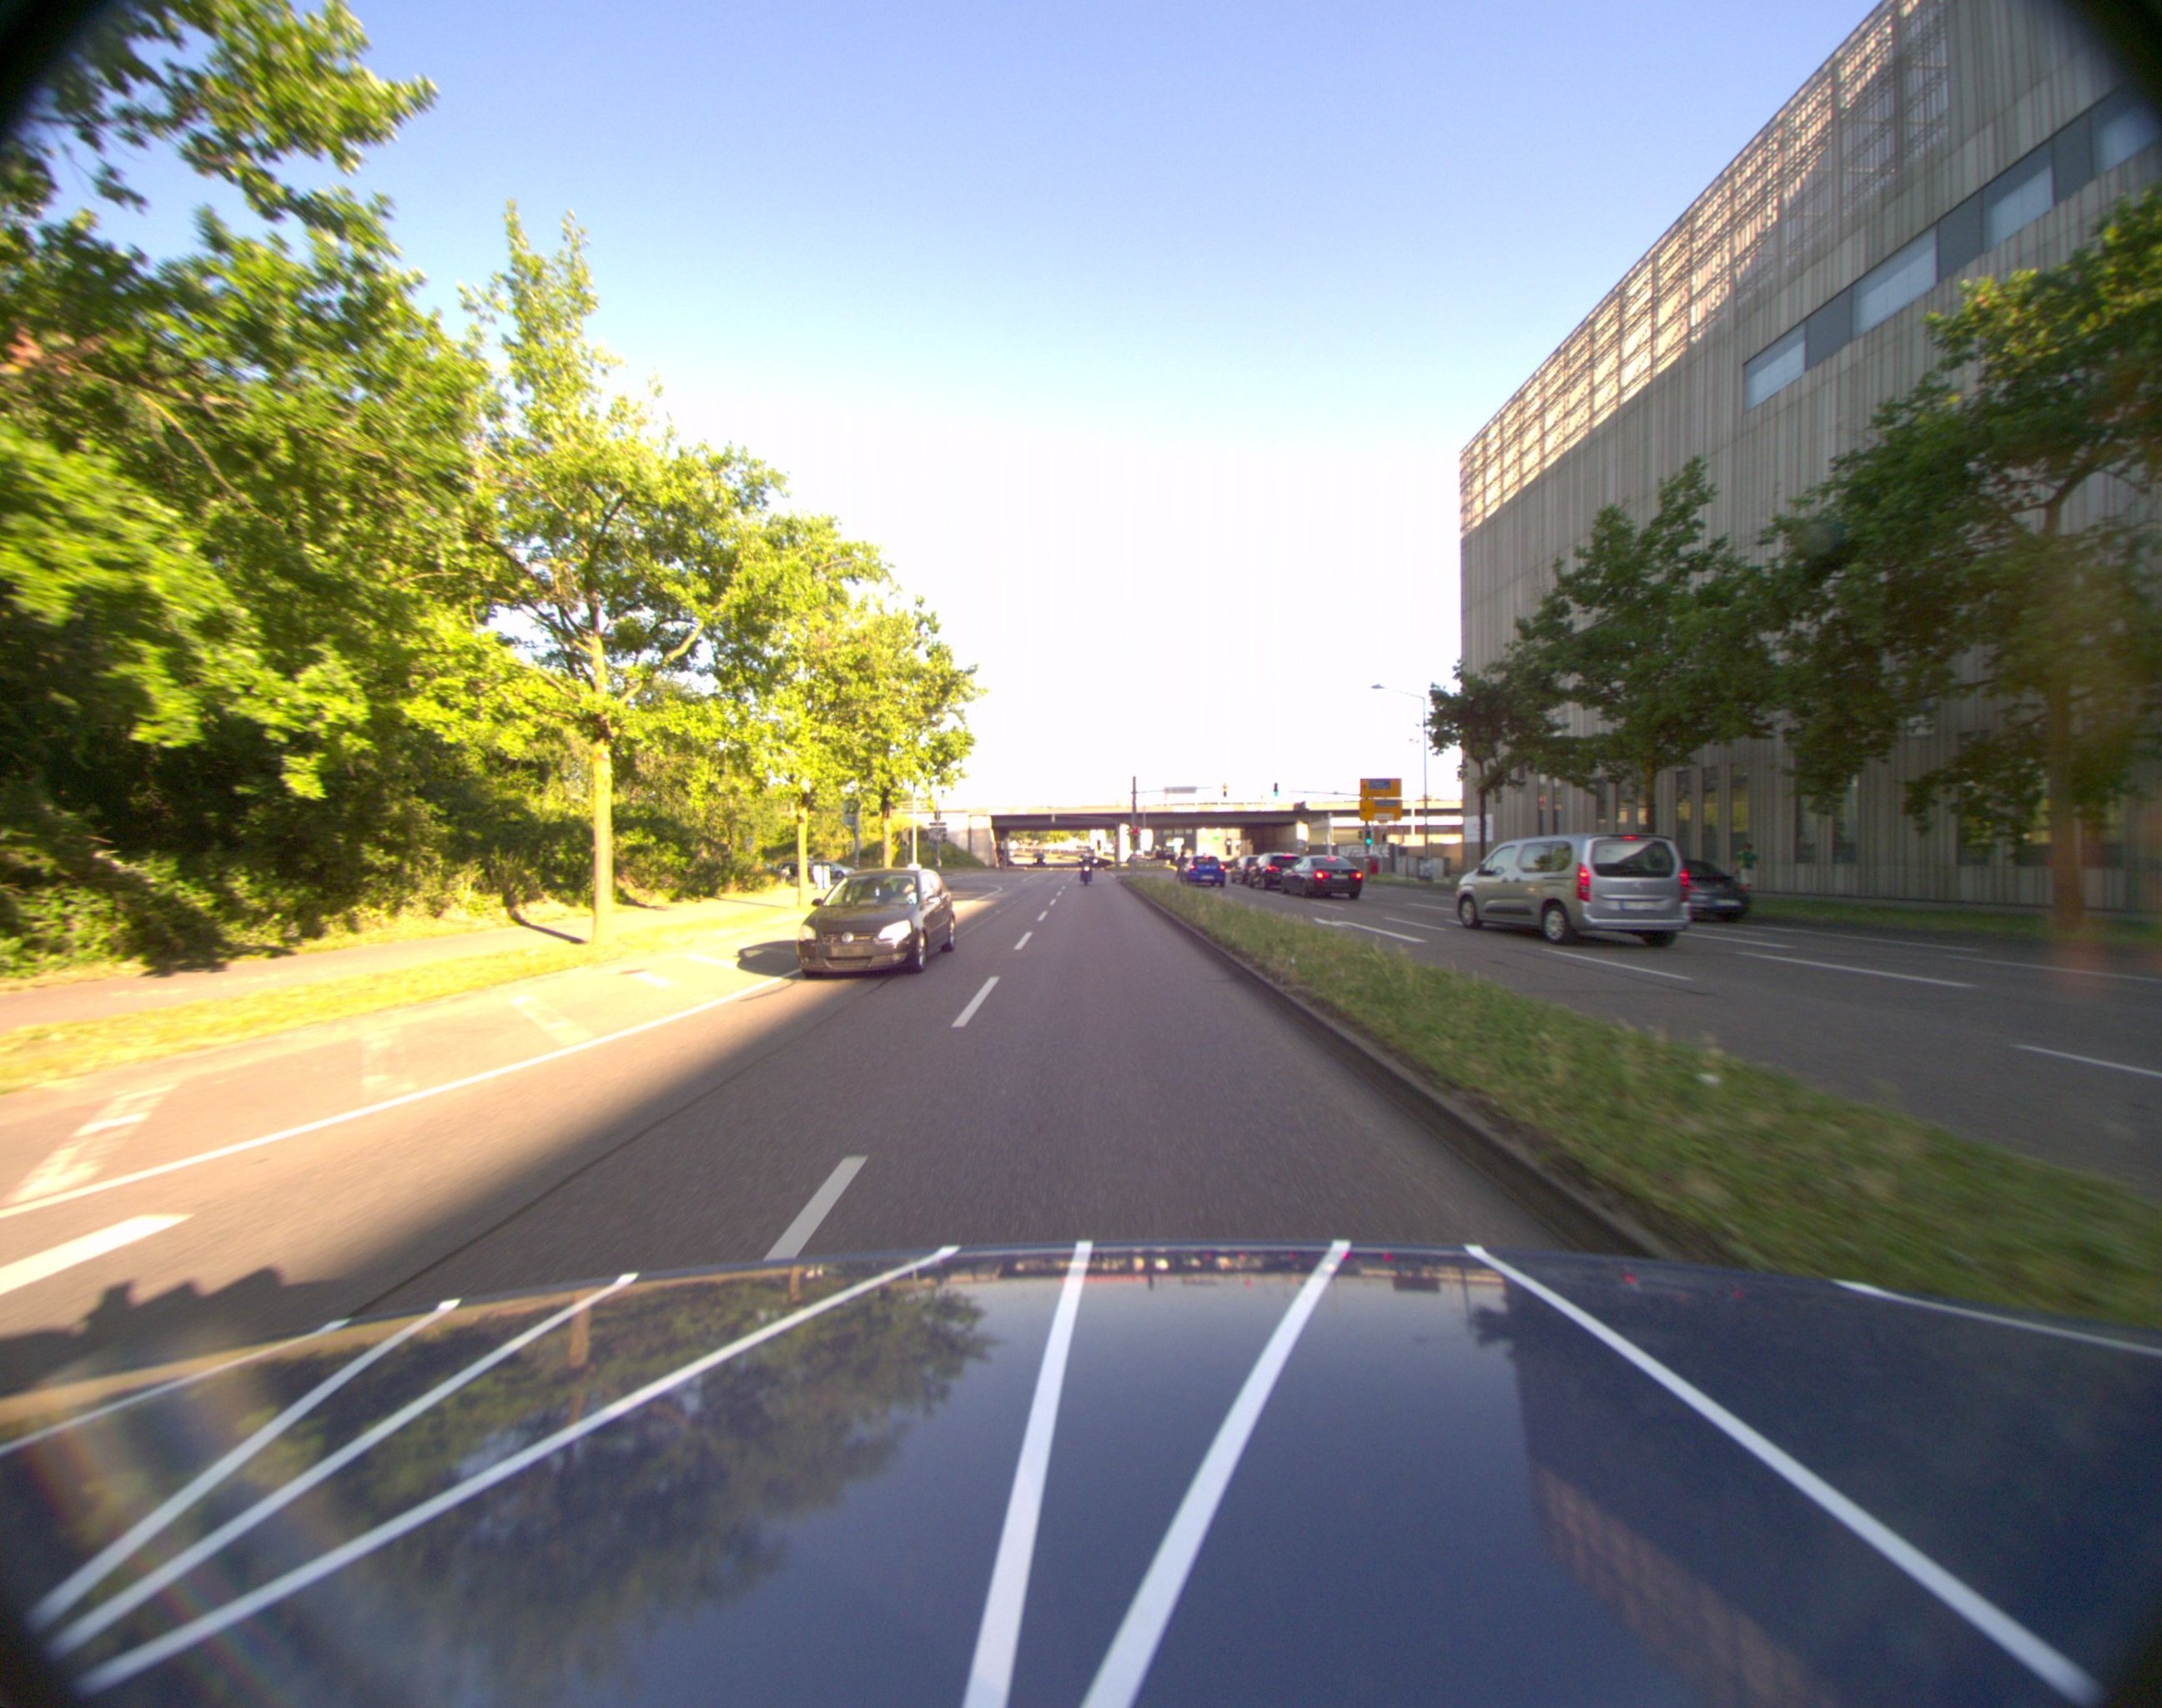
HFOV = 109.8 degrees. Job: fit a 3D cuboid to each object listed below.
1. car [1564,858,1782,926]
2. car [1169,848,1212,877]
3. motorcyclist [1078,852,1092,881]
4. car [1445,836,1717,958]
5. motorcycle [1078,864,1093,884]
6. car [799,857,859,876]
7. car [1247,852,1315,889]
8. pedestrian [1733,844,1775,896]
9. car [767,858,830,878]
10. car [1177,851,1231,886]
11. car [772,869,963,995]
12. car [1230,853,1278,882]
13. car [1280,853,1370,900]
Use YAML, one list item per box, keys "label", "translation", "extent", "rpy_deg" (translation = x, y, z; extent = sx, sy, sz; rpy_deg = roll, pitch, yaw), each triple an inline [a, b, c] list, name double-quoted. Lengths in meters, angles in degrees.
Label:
- label: "car"
  translation: [14.409, 0.847, 18.898]
  extent: [1.998, 1.448, 4.400]
  rpy_deg: [0, 0, 0]
- label: "car"
  translation: [6.092, 0.441, 42.703]
  extent: [1.930, 1.595, 4.000]
  rpy_deg: [0, 0, 2]
- label: "motorcyclist"
  translation: [0.229, 0.676, 40.583]
  extent: [0.734, 1.503, 0.919]
  rpy_deg: [0, 1, -1]
- label: "car"
  translation: [8.432, 0.622, 13.420]
  extent: [1.998, 1.805, 4.401]
  rpy_deg: [0, 0, 2]
- label: "motorcycle"
  translation: [0.225, 1.063, 40.289]
  extent: [0.749, 0.977, 2.140]
  rpy_deg: [-1, 1, 0]
- label: "car"
  translation: [-21.061, 1.025, 63.593]
  extent: [4.285, 1.510, 1.932]
  rpy_deg: [0, 1, 4]
- label: "car"
  translation: [8.549, 0.674, 32.837]
  extent: [1.930, 1.510, 4.000]
  rpy_deg: [0, 0, 1]
- label: "pedestrian"
  translation: [21.510, 0.502, 24.309]
  extent: [0.698, 1.619, 0.725]
  rpy_deg: [-1, 1, 1]
- label: "car"
  translation: [-22.520, 1.095, 60.626]
  extent: [4.285, 1.510, 1.932]
  rpy_deg: [0, 1, 4]
- label: "car"
  translation: [5.647, 0.622, 35.356]
  extent: [1.840, 1.510, 3.952]
  rpy_deg: [0, 0, 0]
- label: "car"
  translation: [-3.027, 1.027, 11.717]
  extent: [1.726, 1.490, 4.214]
  rpy_deg: [-2, 0, 0]
- label: "car"
  translation: [8.925, 0.660, 39.406]
  extent: [1.695, 1.425, 3.772]
  rpy_deg: [0, 0, 1]
- label: "car"
  translation: [8.510, 0.717, 26.881]
  extent: [1.930, 1.510, 4.290]
  rpy_deg: [0, 0, 2]
